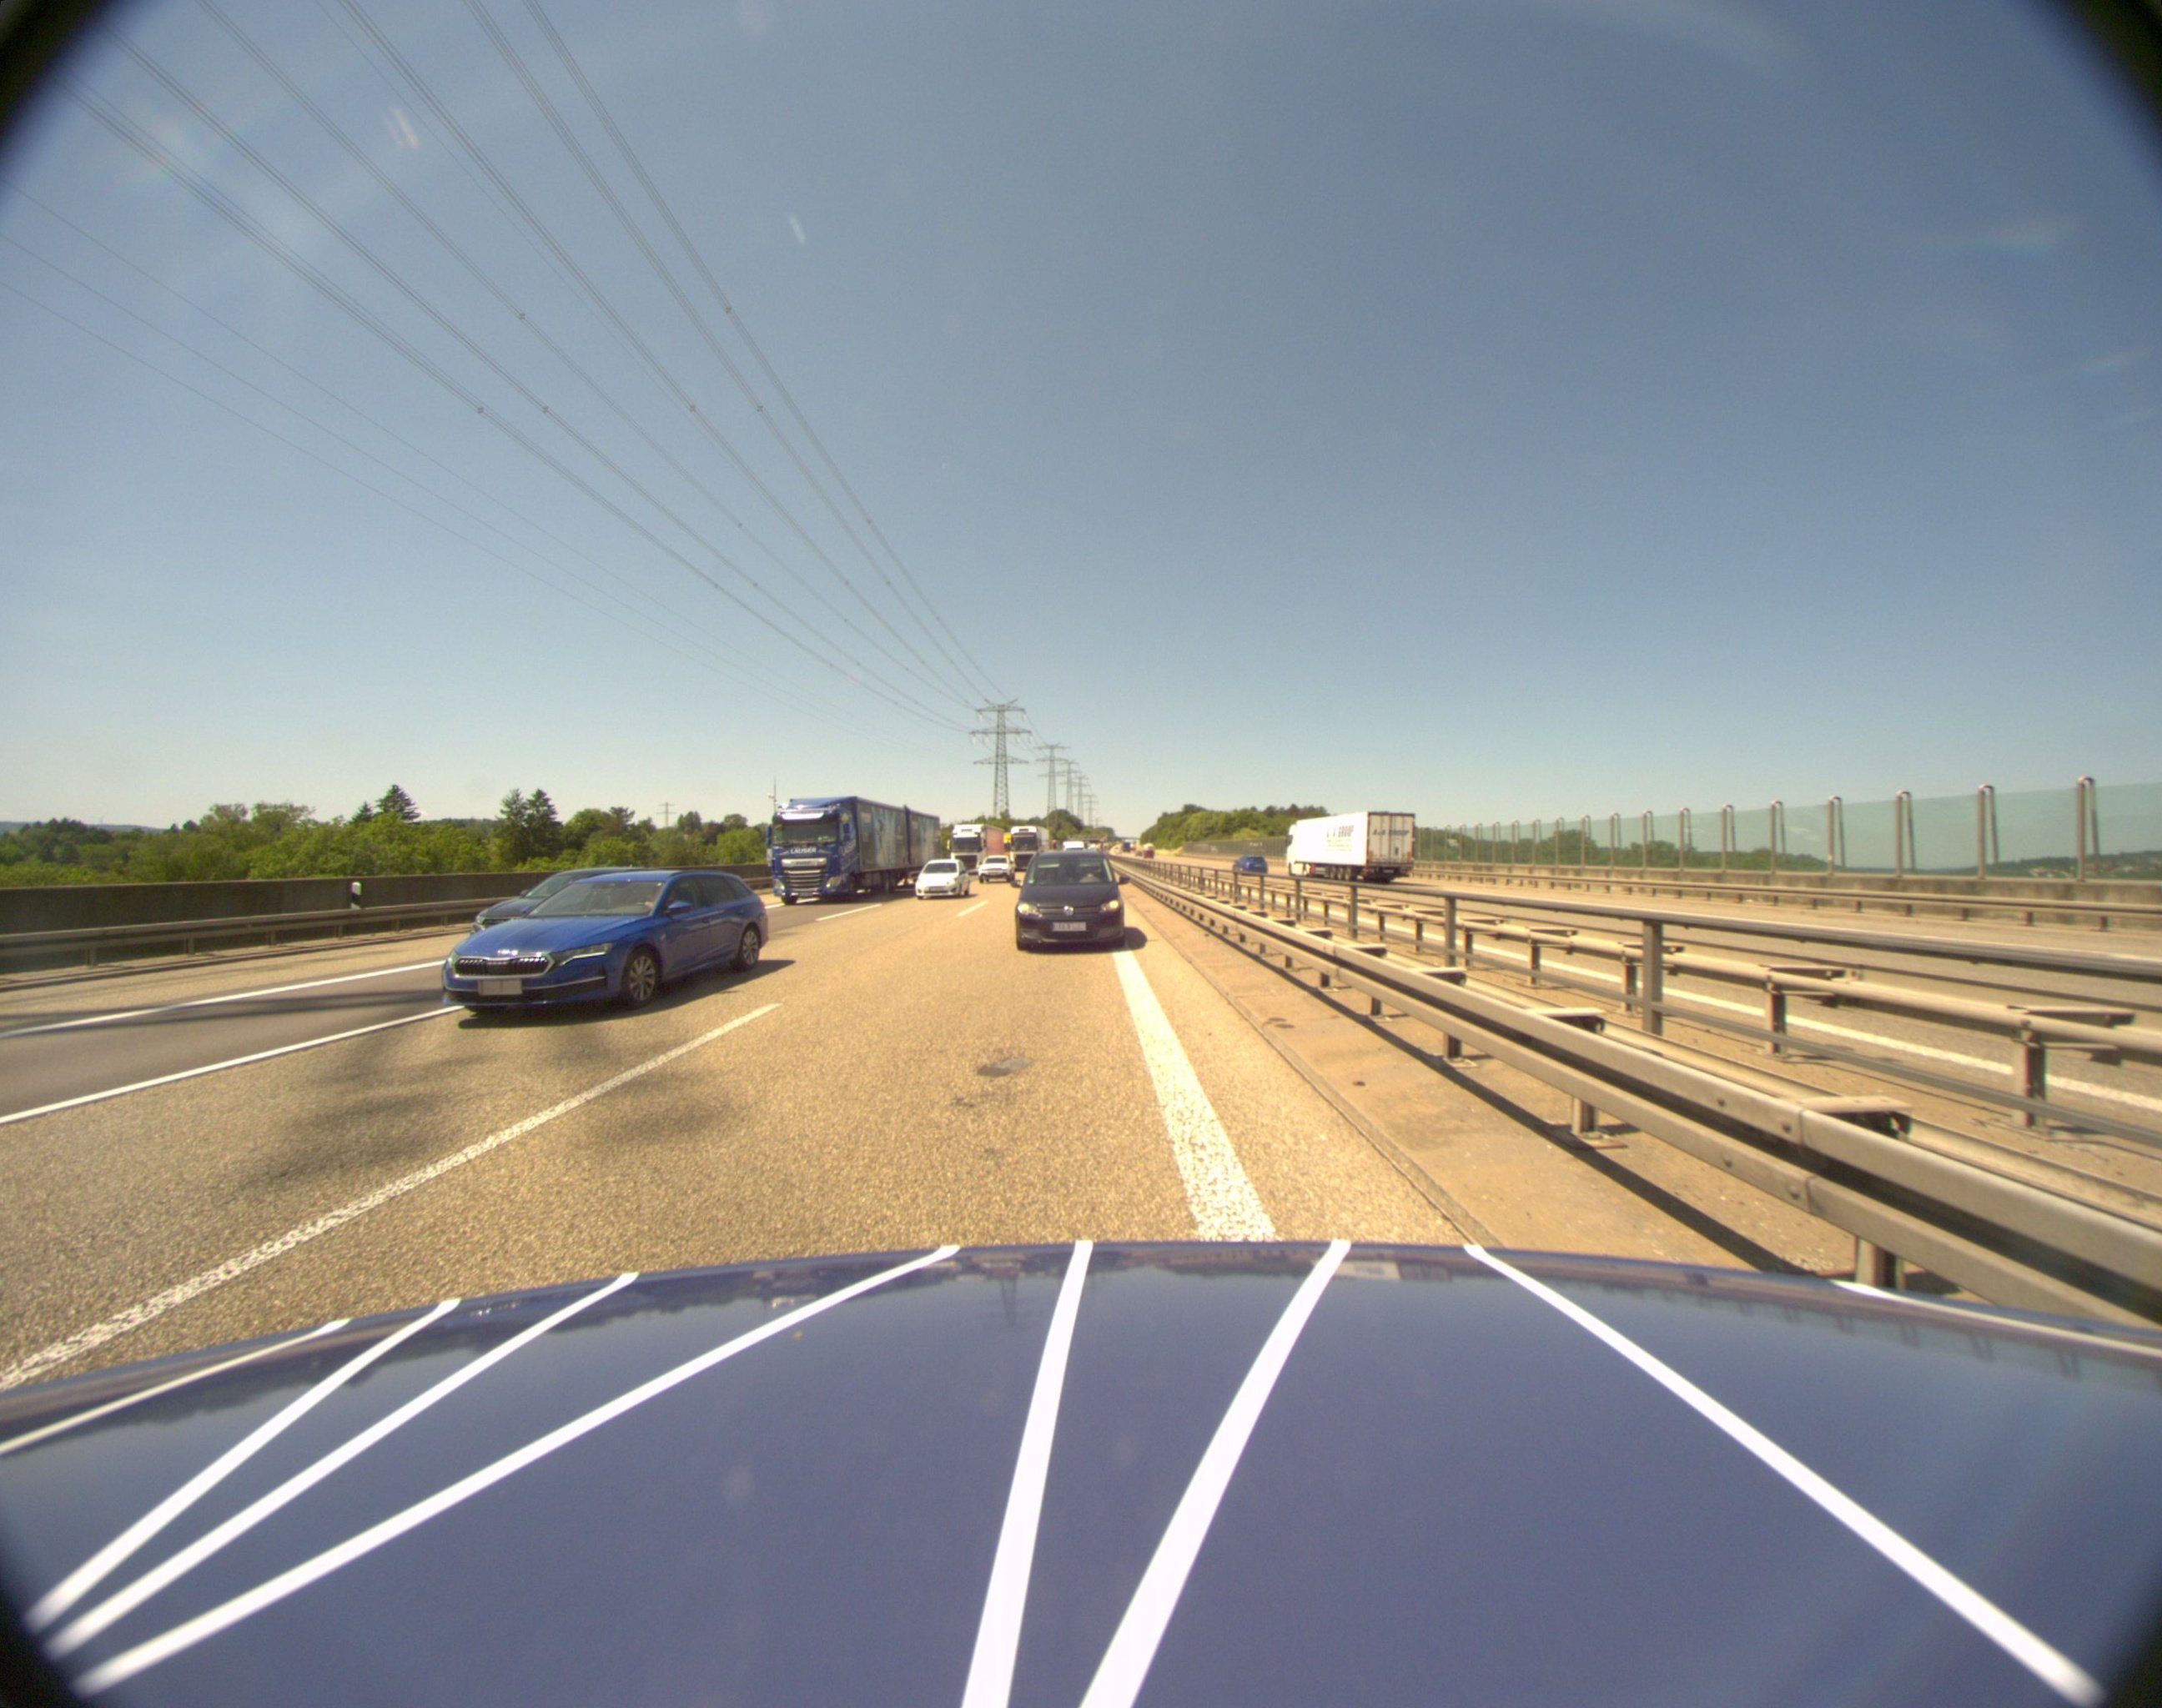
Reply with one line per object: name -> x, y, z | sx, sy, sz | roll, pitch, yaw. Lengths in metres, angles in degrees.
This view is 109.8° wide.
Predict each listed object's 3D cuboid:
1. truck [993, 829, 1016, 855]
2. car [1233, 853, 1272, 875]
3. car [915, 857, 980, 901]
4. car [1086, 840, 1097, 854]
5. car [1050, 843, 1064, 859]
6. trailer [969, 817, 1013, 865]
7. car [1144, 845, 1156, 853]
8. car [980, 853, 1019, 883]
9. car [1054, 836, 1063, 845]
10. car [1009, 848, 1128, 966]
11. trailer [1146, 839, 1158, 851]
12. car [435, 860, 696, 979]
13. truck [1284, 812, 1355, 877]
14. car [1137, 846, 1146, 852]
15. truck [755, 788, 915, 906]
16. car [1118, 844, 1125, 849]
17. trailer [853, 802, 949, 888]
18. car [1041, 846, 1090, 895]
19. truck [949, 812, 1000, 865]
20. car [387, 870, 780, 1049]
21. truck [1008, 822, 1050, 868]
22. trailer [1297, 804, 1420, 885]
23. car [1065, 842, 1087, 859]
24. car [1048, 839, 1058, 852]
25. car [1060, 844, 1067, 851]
truck -> -9.277, -1.472, 93.157 | 2.251, 2.966, 6.242 | 2, 1, -1
car -> 12.162, 0.657, 54.106 | 1.777, 1.483, 4.604 | 0, 0, 1
car -> -5.177, 0.930, 29.939 | 1.712, 1.443, 4.144 | -2, 1, 1
car -> 1.641, -1.063, 117.877 | 1.704, 2.116, 3.999 | -2, 1, 1
car -> -3.436, -0.459, 108.002 | 1.704, 2.116, 3.999 | 2, 1, 1
trailer -> -8.340, -1.225, 71.392 | 2.608, 4.094, 9.085 | -2, 1, 2
car -> 14.329, -1.051, 157.883 | 1.844, 1.812, 4.746 | 0, 1, -1
car -> -4.668, 0.773, 43.914 | 1.712, 1.501, 4.144 | -2, 1, 1
car -> -5.419, -3.289, 183.257 | 1.704, 2.116, 3.999 | 2, 1, 1
car -> -0.177, 0.783, 13.356 | 1.713, 1.669, 3.931 | -2, 1, 0
trailer -> 20.555, -2.638, 220.966 | 2.505, 3.520, 10.901 | 0, 1, 1
car -> -8.845, 1.017, 13.551 | 1.712, 1.645, 4.117 | -2, 1, 1
truck -> 16.907, -0.693, 54.360 | 2.936, 4.269, 6.857 | 2, 1, 1
car -> 15.386, -1.357, 194.030 | 1.876, 1.434, 4.384 | 1, 1, 0
truck -> -9.568, -0.314, 31.267 | 2.859, 3.927, 10.392 | -2, 1, 1
car -> 13.182, -2.310, 245.353 | 1.876, 1.521, 3.608 | 4, 1, 0
trailer -> -9.394, -0.500, 40.764 | 2.835, 4.066, 8.636 | -2, 1, 1
car -> -0.551, 0.569, 29.360 | 1.713, 1.669, 3.931 | -2, 1, 0
truck -> -8.636, -1.286, 62.664 | 2.608, 3.965, 8.264 | -2, 1, 2
car -> -5.529, 1.028, 9.349 | 1.712, 1.443, 4.562 | -2, 1, 1
truck -> -4.596, -0.855, 68.545 | 2.849, 3.804, 8.264 | -2, 1, 2
trailer -> 16.811, -0.612, 47.552 | 2.913, 4.283, 13.659 | 1, 1, 1
car -> -0.415, -0.339, 71.772 | 1.924, 1.501, 3.996 | -2, 1, 1
car -> -5.754, -1.750, 155.346 | 1.704, 2.525, 3.999 | 2, 1, 1
car -> -4.885, -1.850, 213.618 | 1.704, 2.116, 3.999 | 2, 1, 1
